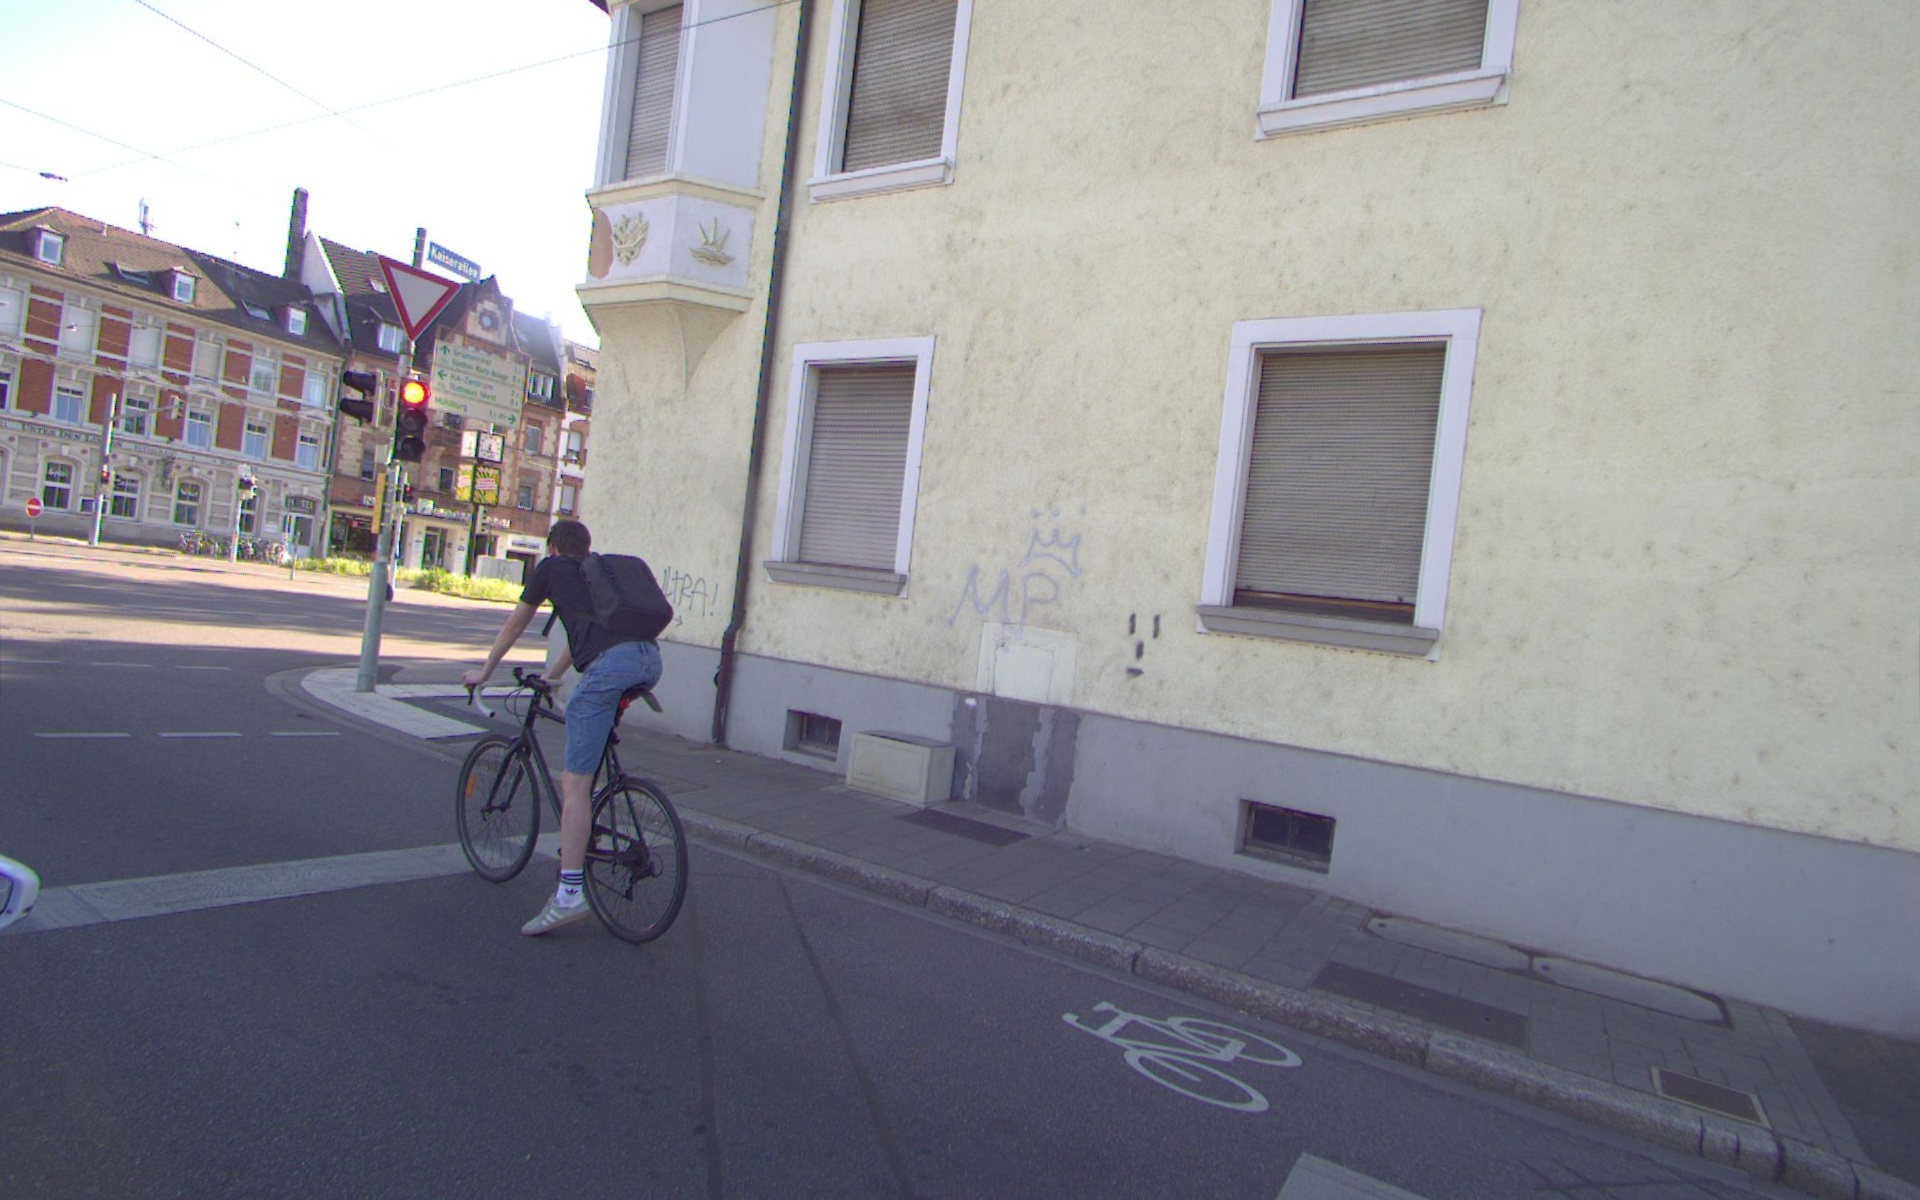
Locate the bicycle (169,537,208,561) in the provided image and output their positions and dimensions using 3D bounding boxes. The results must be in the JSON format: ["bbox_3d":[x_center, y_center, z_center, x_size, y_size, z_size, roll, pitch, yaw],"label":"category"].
[{"bbox_3d":[-34.864,-2.301,45.475,2.125,0.850,0.659,6,-2,33],"label":"bicycle"}]

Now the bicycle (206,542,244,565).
[{"bbox_3d":[-34.174,-2.159,46.763,2.125,0.850,0.659,6,-2,33],"label":"bicycle"}]

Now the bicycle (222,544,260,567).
[{"bbox_3d":[-33.840,-2.091,47.360,2.125,0.850,0.659,6,-2,33],"label":"bicycle"}]

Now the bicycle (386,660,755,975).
[{"bbox_3d":[-1.787,0.877,4.503,1.721,0.982,0.519,7,0,32],"label":"bicycle"}]

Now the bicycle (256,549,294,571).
[{"bbox_3d":[-33.096,-1.944,48.595,2.125,0.850,0.659,6,-2,33],"label":"bicycle"}]

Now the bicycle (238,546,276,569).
[{"bbox_3d":[-33.484,-2.023,47.890,2.125,0.850,0.659,6,-2,33],"label":"bicycle"}]

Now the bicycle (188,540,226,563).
[{"bbox_3d":[-34.547,-2.233,46.142,2.125,0.850,0.659,6,-2,33],"label":"bicycle"}]

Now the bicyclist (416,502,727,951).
[{"bbox_3d":[-1.739,0.493,4.482,1.098,1.722,0.573,7,0,32],"label":"bicyclist"}]

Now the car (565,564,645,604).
[{"bbox_3d":[-23.006,-1.001,65.321,1.968,2.038,4.430,7,-1,34],"label":"car"}]
